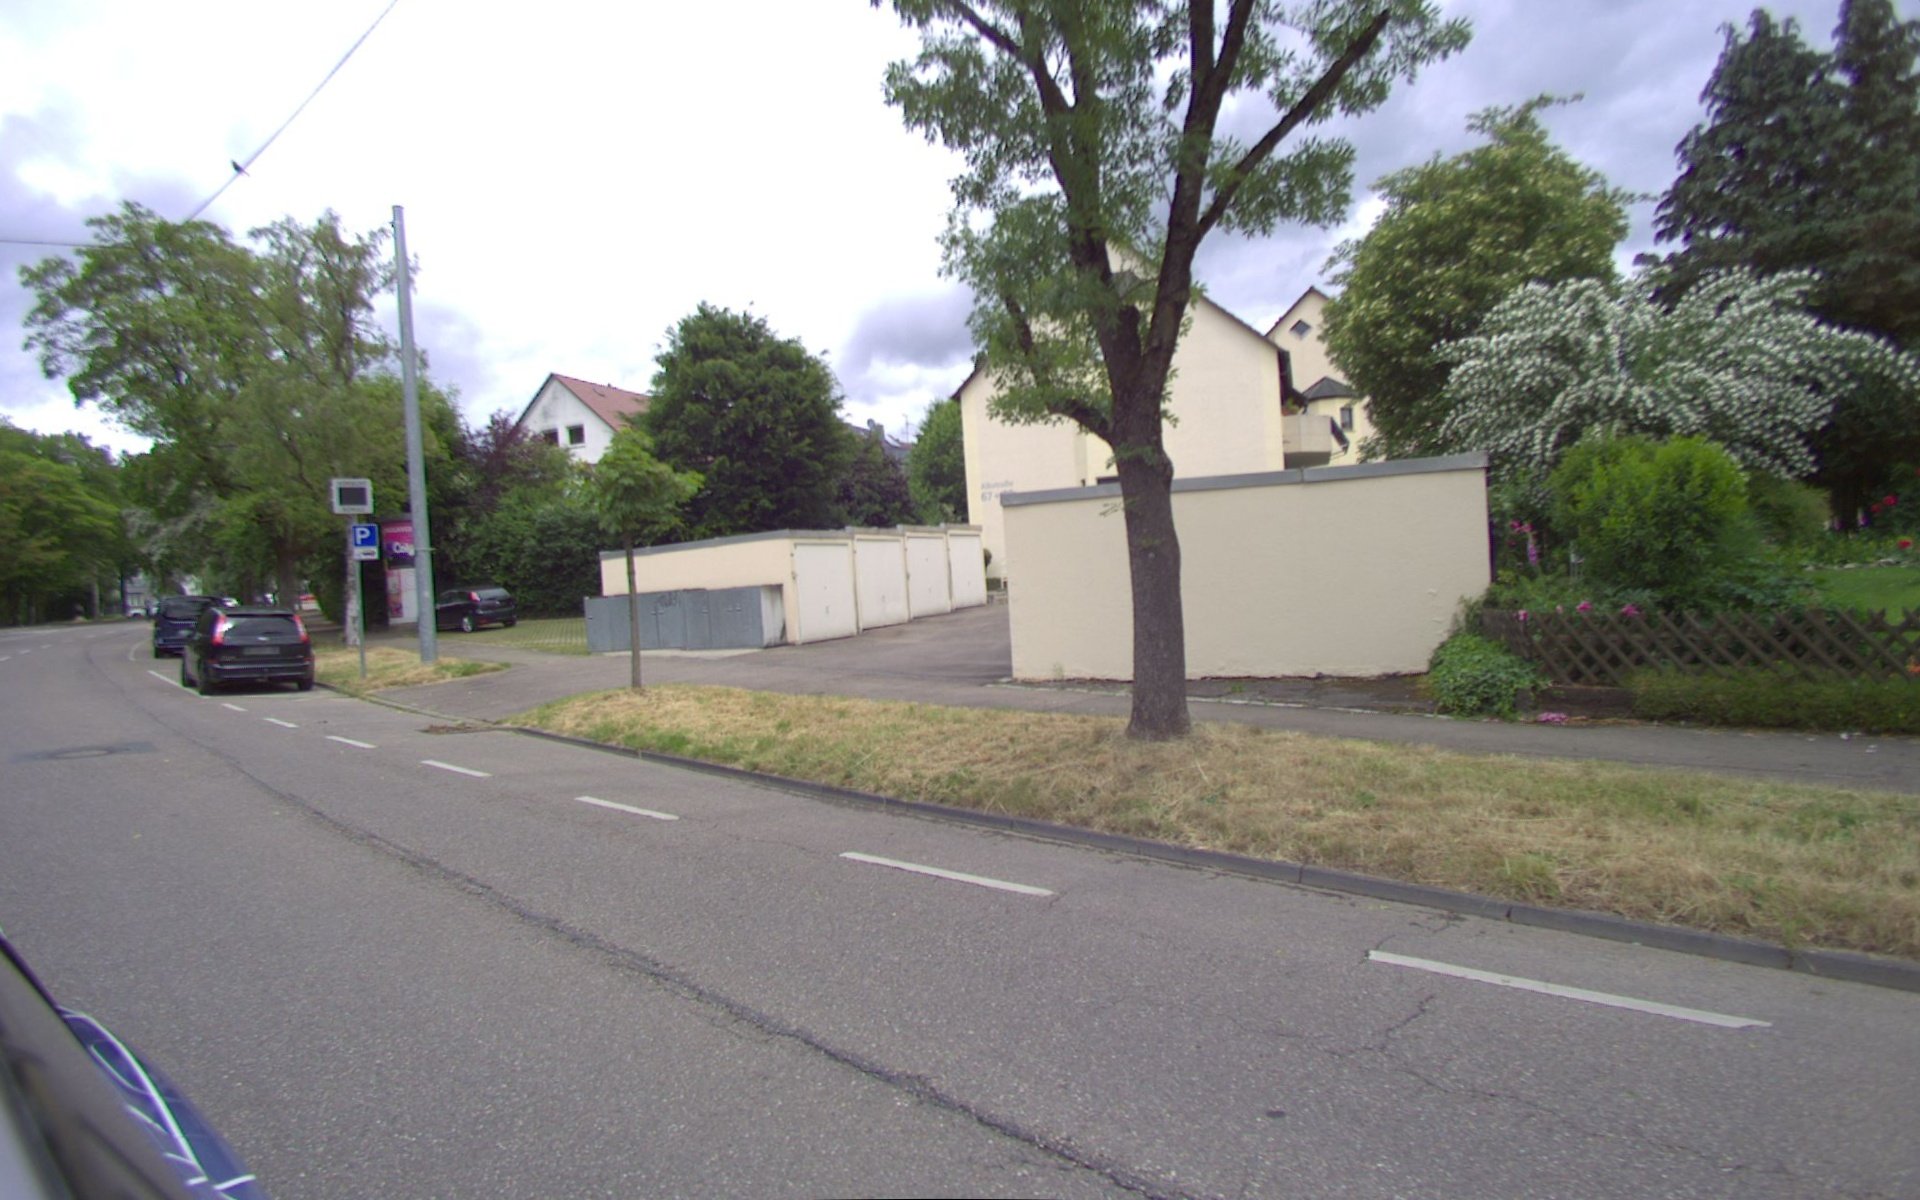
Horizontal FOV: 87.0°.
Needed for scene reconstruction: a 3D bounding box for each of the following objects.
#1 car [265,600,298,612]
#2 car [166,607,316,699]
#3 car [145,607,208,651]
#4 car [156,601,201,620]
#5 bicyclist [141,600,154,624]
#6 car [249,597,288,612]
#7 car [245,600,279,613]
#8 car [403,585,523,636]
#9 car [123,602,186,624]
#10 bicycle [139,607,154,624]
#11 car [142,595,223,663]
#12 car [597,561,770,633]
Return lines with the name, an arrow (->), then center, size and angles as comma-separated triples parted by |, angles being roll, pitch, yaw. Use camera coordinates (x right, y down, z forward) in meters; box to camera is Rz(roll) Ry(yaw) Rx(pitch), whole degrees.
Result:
car -> -99.208, 0.814, 147.996 | 3.795, 1.444, 1.659 | -6, 3, -36
car -> -13.975, 0.925, 19.581 | 1.783, 1.575, 4.271 | 1, -1, -43
car -> -31.153, 1.112, 40.313 | 1.842, 1.549, 4.236 | -3, 2, -37
car -> -66.175, 0.898, 85.767 | 1.830, 1.384, 4.089 | -4, 2, -21
bicyclist -> -62.131, 0.889, 77.404 | 0.637, 1.792, 0.630 | -3, 2, -33
car -> -97.334, 0.593, 142.410 | 1.859, 1.771, 4.163 | -1, 4, 44
car -> -96.166, 0.937, 139.448 | 3.795, 1.449, 1.720 | -6, 3, -36
car -> -16.948, 0.356, 34.482 | 3.977, 1.488, 1.761 | -2, 5, 32
car -> -76.333, 1.220, 96.006 | 4.410, 1.596, 1.912 | -6, 3, -34
bicycle -> -61.834, 1.160, 76.945 | 0.637, 1.246, 1.882 | -4, 2, -32
car -> -24.766, 0.860, 32.157 | 1.835, 1.923, 5.092 | -3, 2, -39
car -> -8.006, -0.105, 29.402 | 4.366, 1.661, 1.990 | -4, 4, 18
